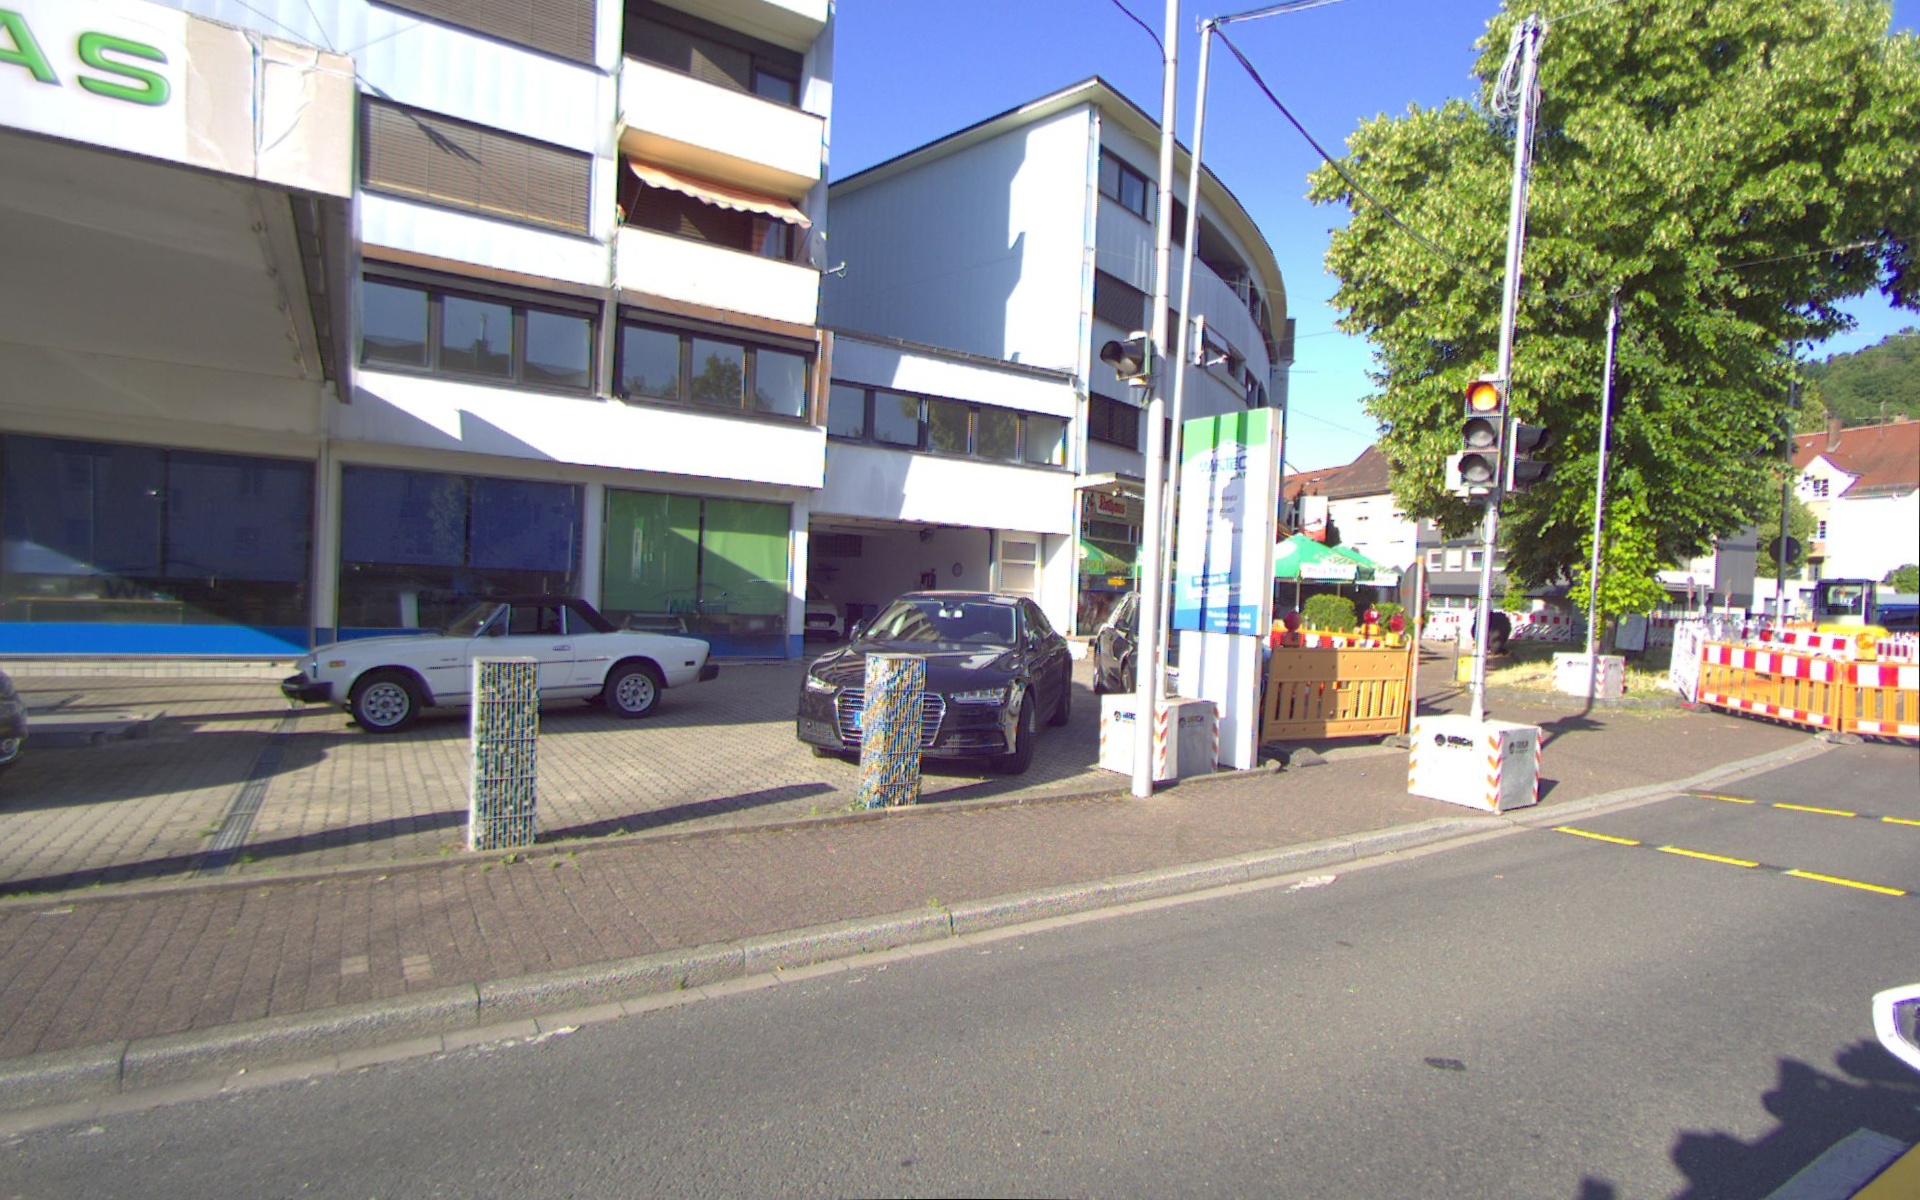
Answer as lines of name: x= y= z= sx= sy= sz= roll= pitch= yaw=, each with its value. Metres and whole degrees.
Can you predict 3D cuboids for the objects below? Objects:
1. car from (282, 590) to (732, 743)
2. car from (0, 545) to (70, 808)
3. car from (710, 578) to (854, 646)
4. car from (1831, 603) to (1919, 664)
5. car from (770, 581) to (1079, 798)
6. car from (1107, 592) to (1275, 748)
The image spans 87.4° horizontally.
car: x=-4.638 y=0.584 z=10.530 sx=4.097 sy=1.301 sz=1.576 roll=0 pitch=1 yaw=-35
car: x=-7.480 y=0.397 z=5.860 sx=3.325 sy=1.589 sz=1.623 roll=2 pitch=1 yaw=8
car: x=-4.386 y=0.241 z=24.344 sx=1.980 sy=1.486 sz=3.961 roll=1 pitch=0 yaw=-34
car: x=34.052 y=1.179 z=35.902 sx=2.026 sy=2.040 sz=5.003 roll=2 pitch=0 yaw=9
car: x=-0.041 y=0.606 z=9.468 sx=1.872 sy=1.474 sz=4.315 roll=3 pitch=1 yaw=12
car: x=2.808 y=0.692 z=12.441 sx=1.617 sy=1.474 sz=4.301 roll=3 pitch=1 yaw=12
